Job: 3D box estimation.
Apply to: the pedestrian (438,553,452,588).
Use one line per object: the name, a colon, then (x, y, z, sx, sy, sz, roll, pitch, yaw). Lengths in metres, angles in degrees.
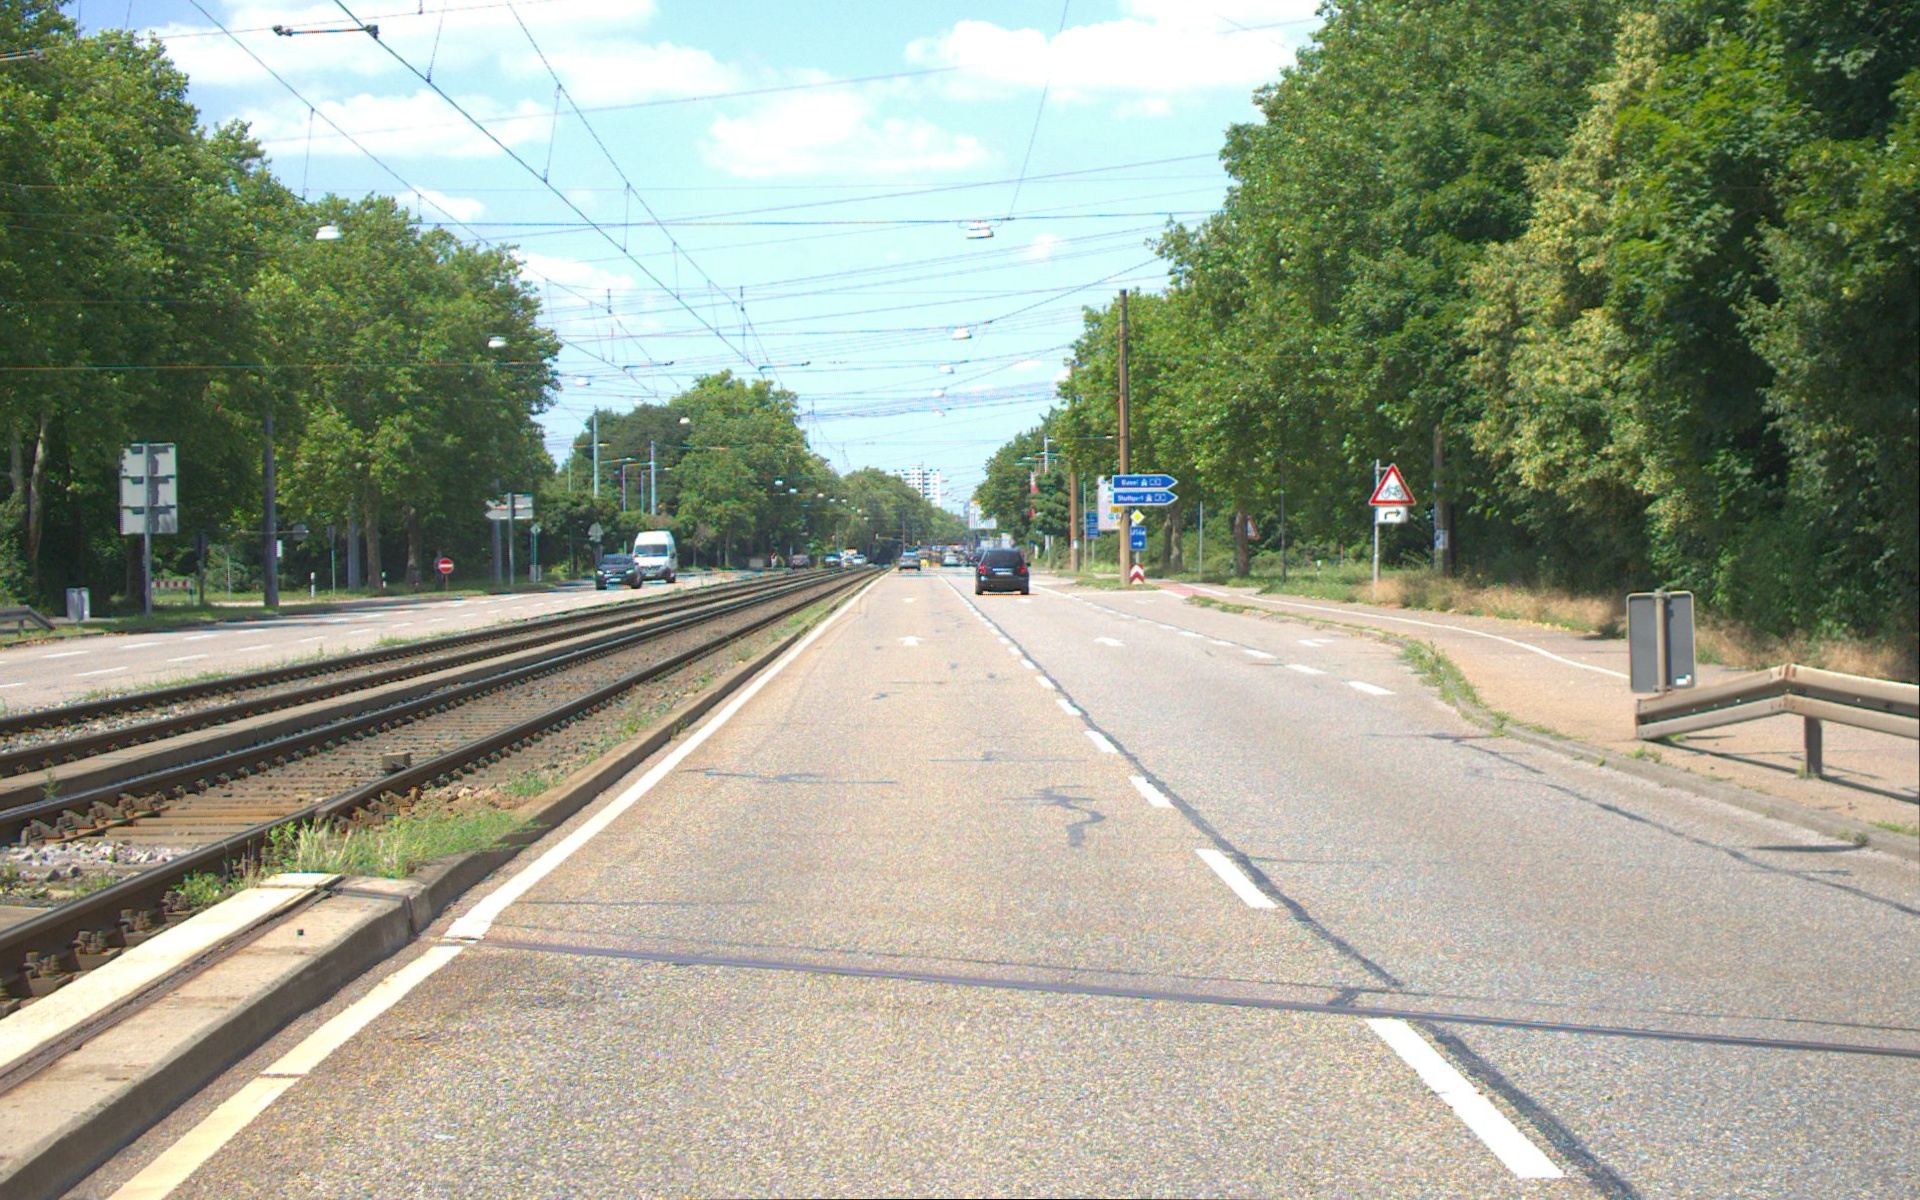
pedestrian: (-22.967, -1.337, 153.329, 0.513, 1.546, 0.704, -2, 1, -6)

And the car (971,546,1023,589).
car: (1.223, -1.111, 115.588, 1.586, 1.338, 3.273, -1, 2, -2)

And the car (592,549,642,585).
car: (-15.543, -1.506, 155.804, 1.817, 1.509, 4.428, -2, 1, -1)

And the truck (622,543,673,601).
truck: (-16.397, -1.493, 180.757, 2.054, 2.929, 6.320, -2, 1, -1)
